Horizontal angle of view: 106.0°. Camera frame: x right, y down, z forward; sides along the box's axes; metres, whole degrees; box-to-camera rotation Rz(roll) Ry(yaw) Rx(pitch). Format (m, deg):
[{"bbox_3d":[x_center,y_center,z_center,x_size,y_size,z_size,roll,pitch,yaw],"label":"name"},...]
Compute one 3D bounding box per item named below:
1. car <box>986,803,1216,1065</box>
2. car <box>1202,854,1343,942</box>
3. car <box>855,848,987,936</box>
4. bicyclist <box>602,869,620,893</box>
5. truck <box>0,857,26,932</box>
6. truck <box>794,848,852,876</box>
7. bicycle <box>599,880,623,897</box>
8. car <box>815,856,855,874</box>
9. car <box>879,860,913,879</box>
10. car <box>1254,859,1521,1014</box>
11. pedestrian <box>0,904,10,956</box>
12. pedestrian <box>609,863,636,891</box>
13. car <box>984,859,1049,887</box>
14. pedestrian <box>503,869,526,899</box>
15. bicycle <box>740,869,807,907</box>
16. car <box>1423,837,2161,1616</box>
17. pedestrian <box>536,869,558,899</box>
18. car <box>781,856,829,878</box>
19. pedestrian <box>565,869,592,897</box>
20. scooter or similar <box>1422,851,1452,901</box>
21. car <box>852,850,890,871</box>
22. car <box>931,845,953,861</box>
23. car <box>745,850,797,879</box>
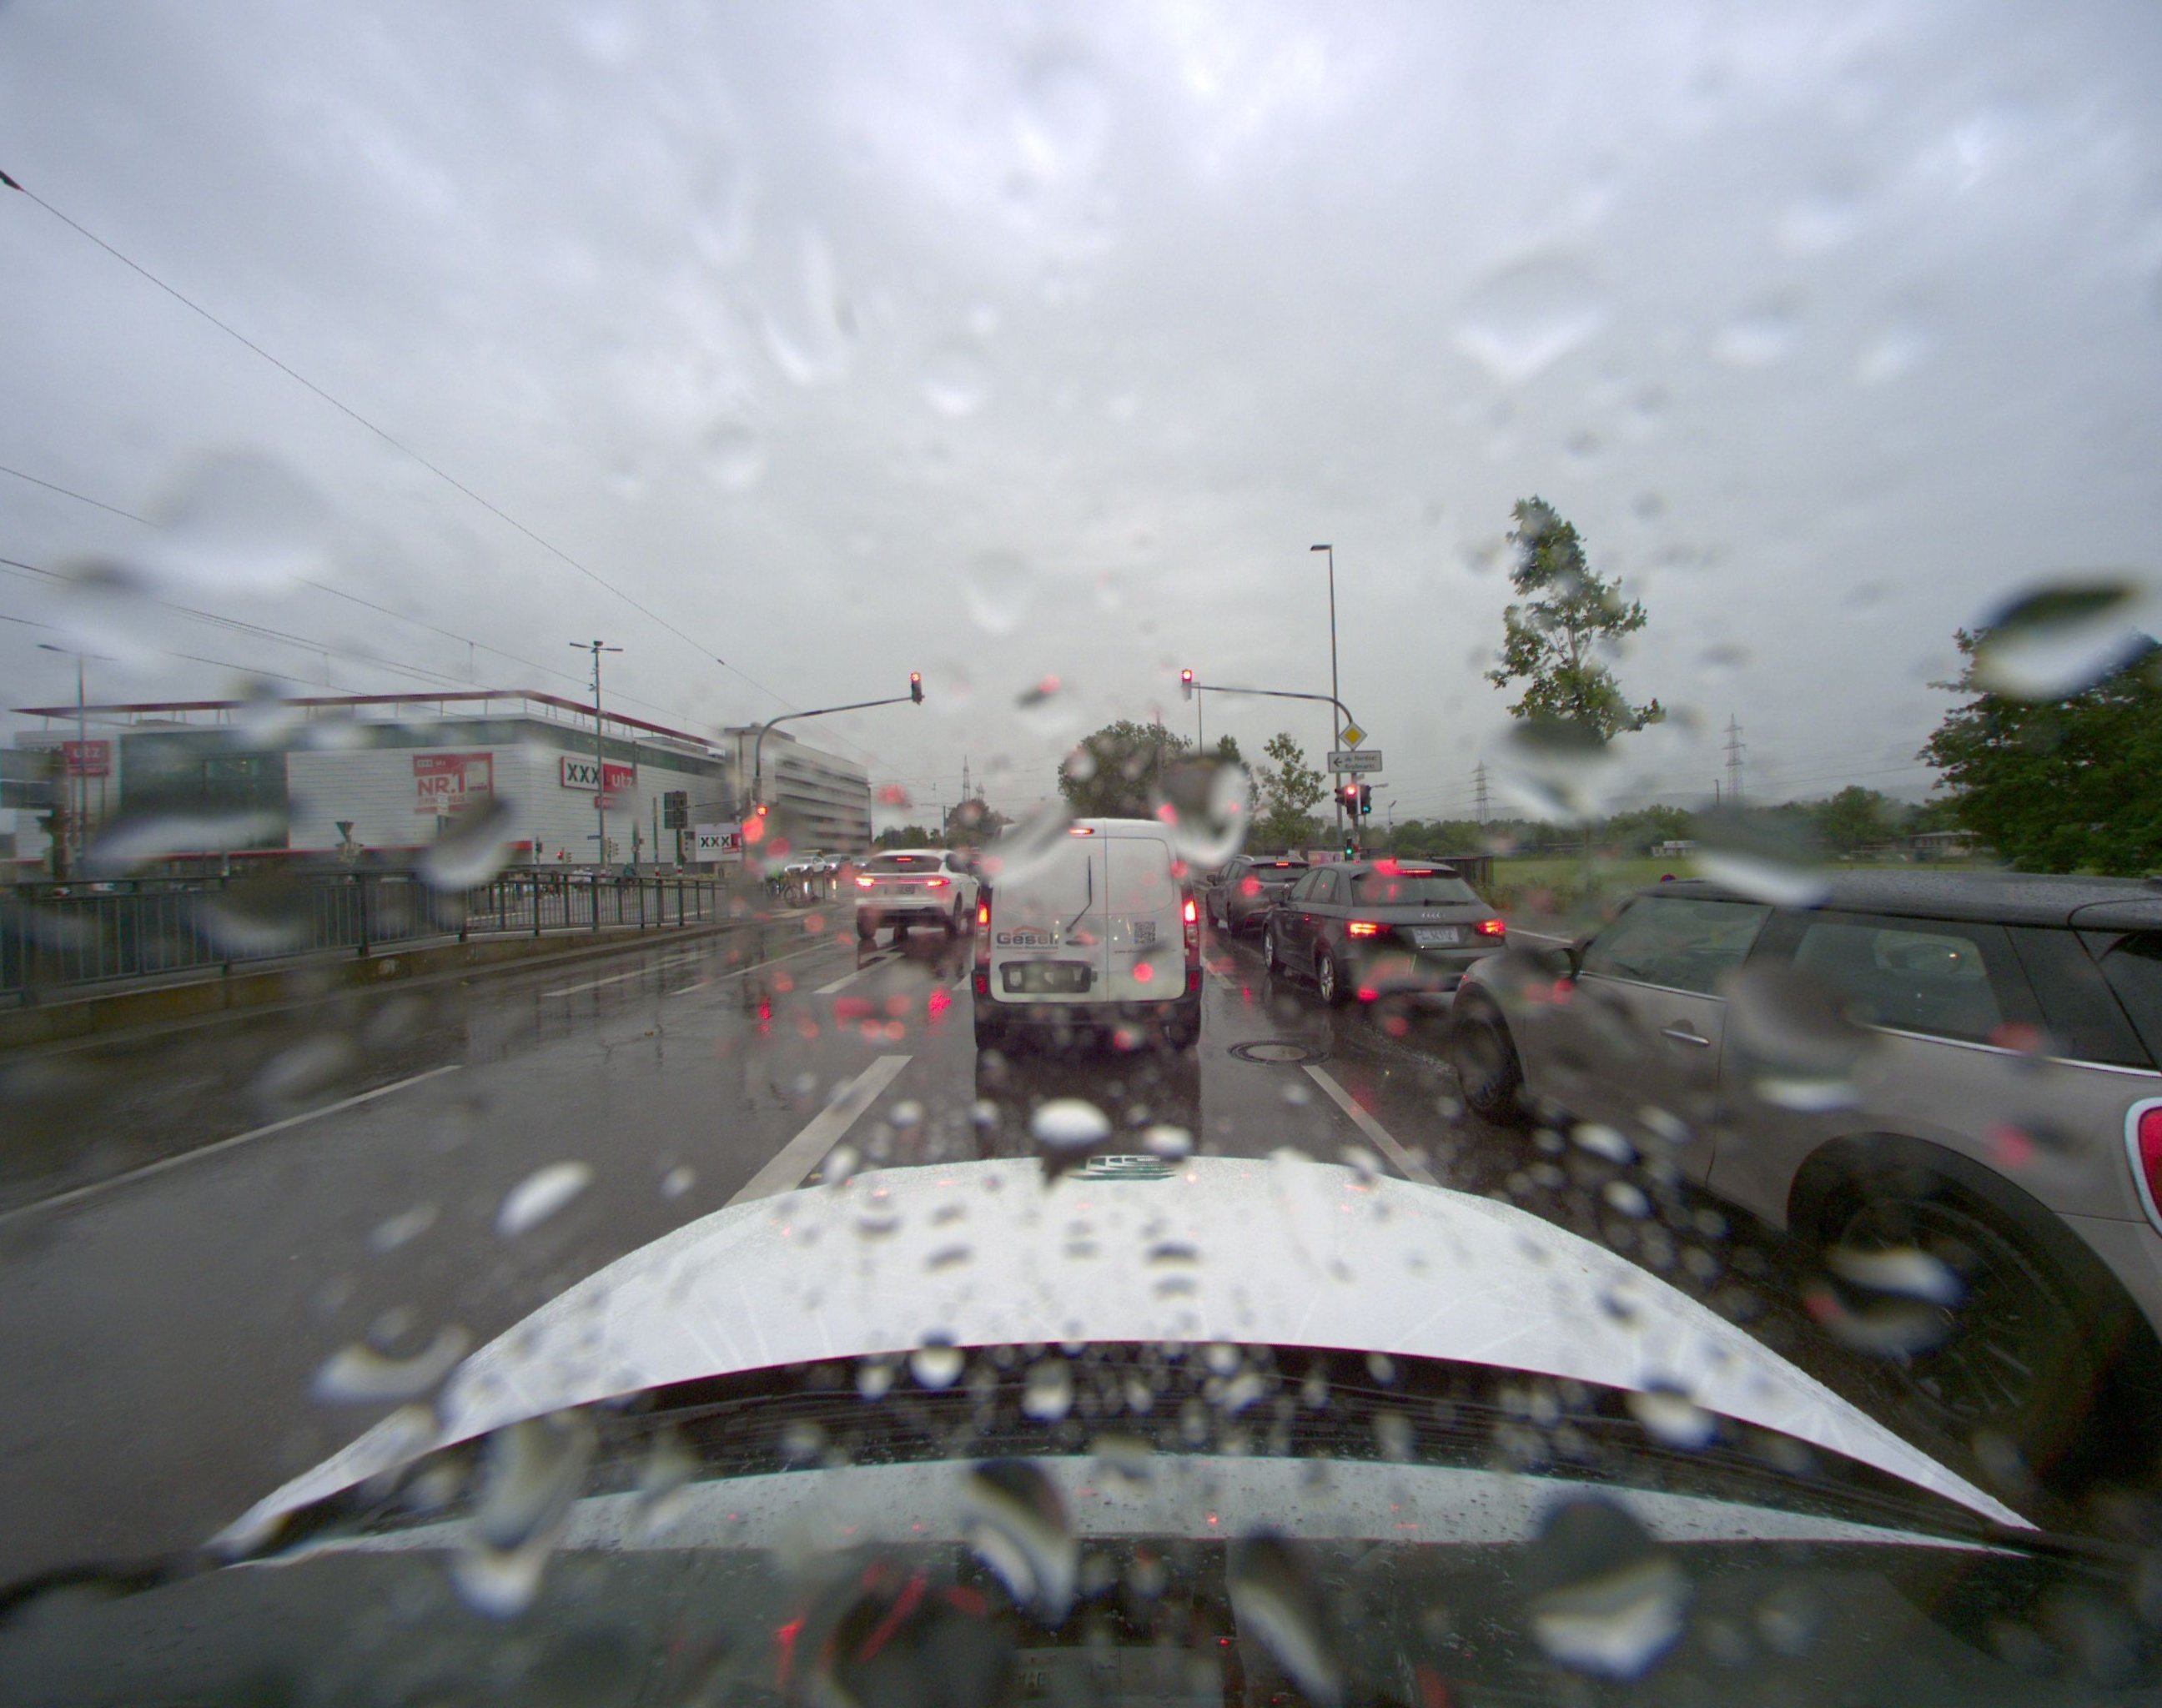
[{"bbox_3d":[0.202,0.566,7.633,1.560,1.788,4.002,-1,0,2],"label":"car"},{"bbox_3d":[3.492,0.740,15.587,1.853,1.428,3.808,0,0,1],"label":"car"},{"bbox_3d":[-3.046,0.648,16.348,1.723,1.535,4.298,0,0,1],"label":"car"},{"bbox_3d":[-28.650,1.658,49.649,0.681,1.464,0.647,0,-1,3],"label":"bicyclist"},{"bbox_3d":[-43.905,1.547,29.750,7.100,2.816,2.640,-1,-1,-1],"label":"truck"},{"bbox_3d":[-22.405,0.681,71.221,2.342,2.279,7.637,0,0,2],"label":"truck"},{"bbox_3d":[-28.625,2.110,49.623,0.448,0.987,1.709,0,-1,2],"label":"bicycle"},{"bbox_3d":[-19.148,0.850,63.587,1.579,1.336,3.837,0,-1,6],"label":"car"},{"bbox_3d":[-17.659,1.466,78.032,1.919,1.827,4.007,0,-1,6],"label":"car"},{"bbox_3d":[3.080,0.739,8.978,1.623,1.344,3.624,0,0,1],"label":"car"},{"bbox_3d":[-32.481,2.263,24.043,0.561,1.537,0.872,0,-1,1],"label":"pedestrian"},{"bbox_3d":[-26.727,1.325,47.453,0.912,1.632,1.015,-1,-1,12],"label":"pedestrian"},{"bbox_3d":[-3.418,0.980,43.825,1.491,1.422,3.890,-1,-1,30],"label":"car"},{"bbox_3d":[-31.446,1.641,45.232,0.701,1.632,0.918,0,-1,-10],"label":"pedestrian"},{"bbox_3d":[-8.985,0.982,23.789,1.745,1.034,0.414,2,-1,0],"label":"bicycle"},{"bbox_3d":[2.967,0.716,3.263,1.707,1.508,3.624,0,0,1],"label":"car"},{"bbox_3d":[-29.812,1.671,45.463,0.701,1.632,0.918,0,-1,-10],"label":"pedestrian"},{"bbox_3d":[-19.512,0.929,57.767,1.689,1.492,3.884,-1,-1,7],"label":"car"},{"bbox_3d":[-29.377,1.676,47.591,1.013,1.632,1.091,-1,-1,42],"label":"pedestrian"},{"bbox_3d":[8.447,0.516,19.374,0.244,1.158,1.187,0,-1,3],"label":"scooter or similar"},{"bbox_3d":[-18.270,0.561,70.981,1.883,1.699,4.006,0,-1,6],"label":"car"},{"bbox_3d":[-17.859,-0.091,104.694,1.985,2.014,4.004,0,-1,3],"label":"car"},{"bbox_3d":[-23.066,0.777,60.713,1.983,2.014,4.007,0,-1,6],"label":"car"}]
